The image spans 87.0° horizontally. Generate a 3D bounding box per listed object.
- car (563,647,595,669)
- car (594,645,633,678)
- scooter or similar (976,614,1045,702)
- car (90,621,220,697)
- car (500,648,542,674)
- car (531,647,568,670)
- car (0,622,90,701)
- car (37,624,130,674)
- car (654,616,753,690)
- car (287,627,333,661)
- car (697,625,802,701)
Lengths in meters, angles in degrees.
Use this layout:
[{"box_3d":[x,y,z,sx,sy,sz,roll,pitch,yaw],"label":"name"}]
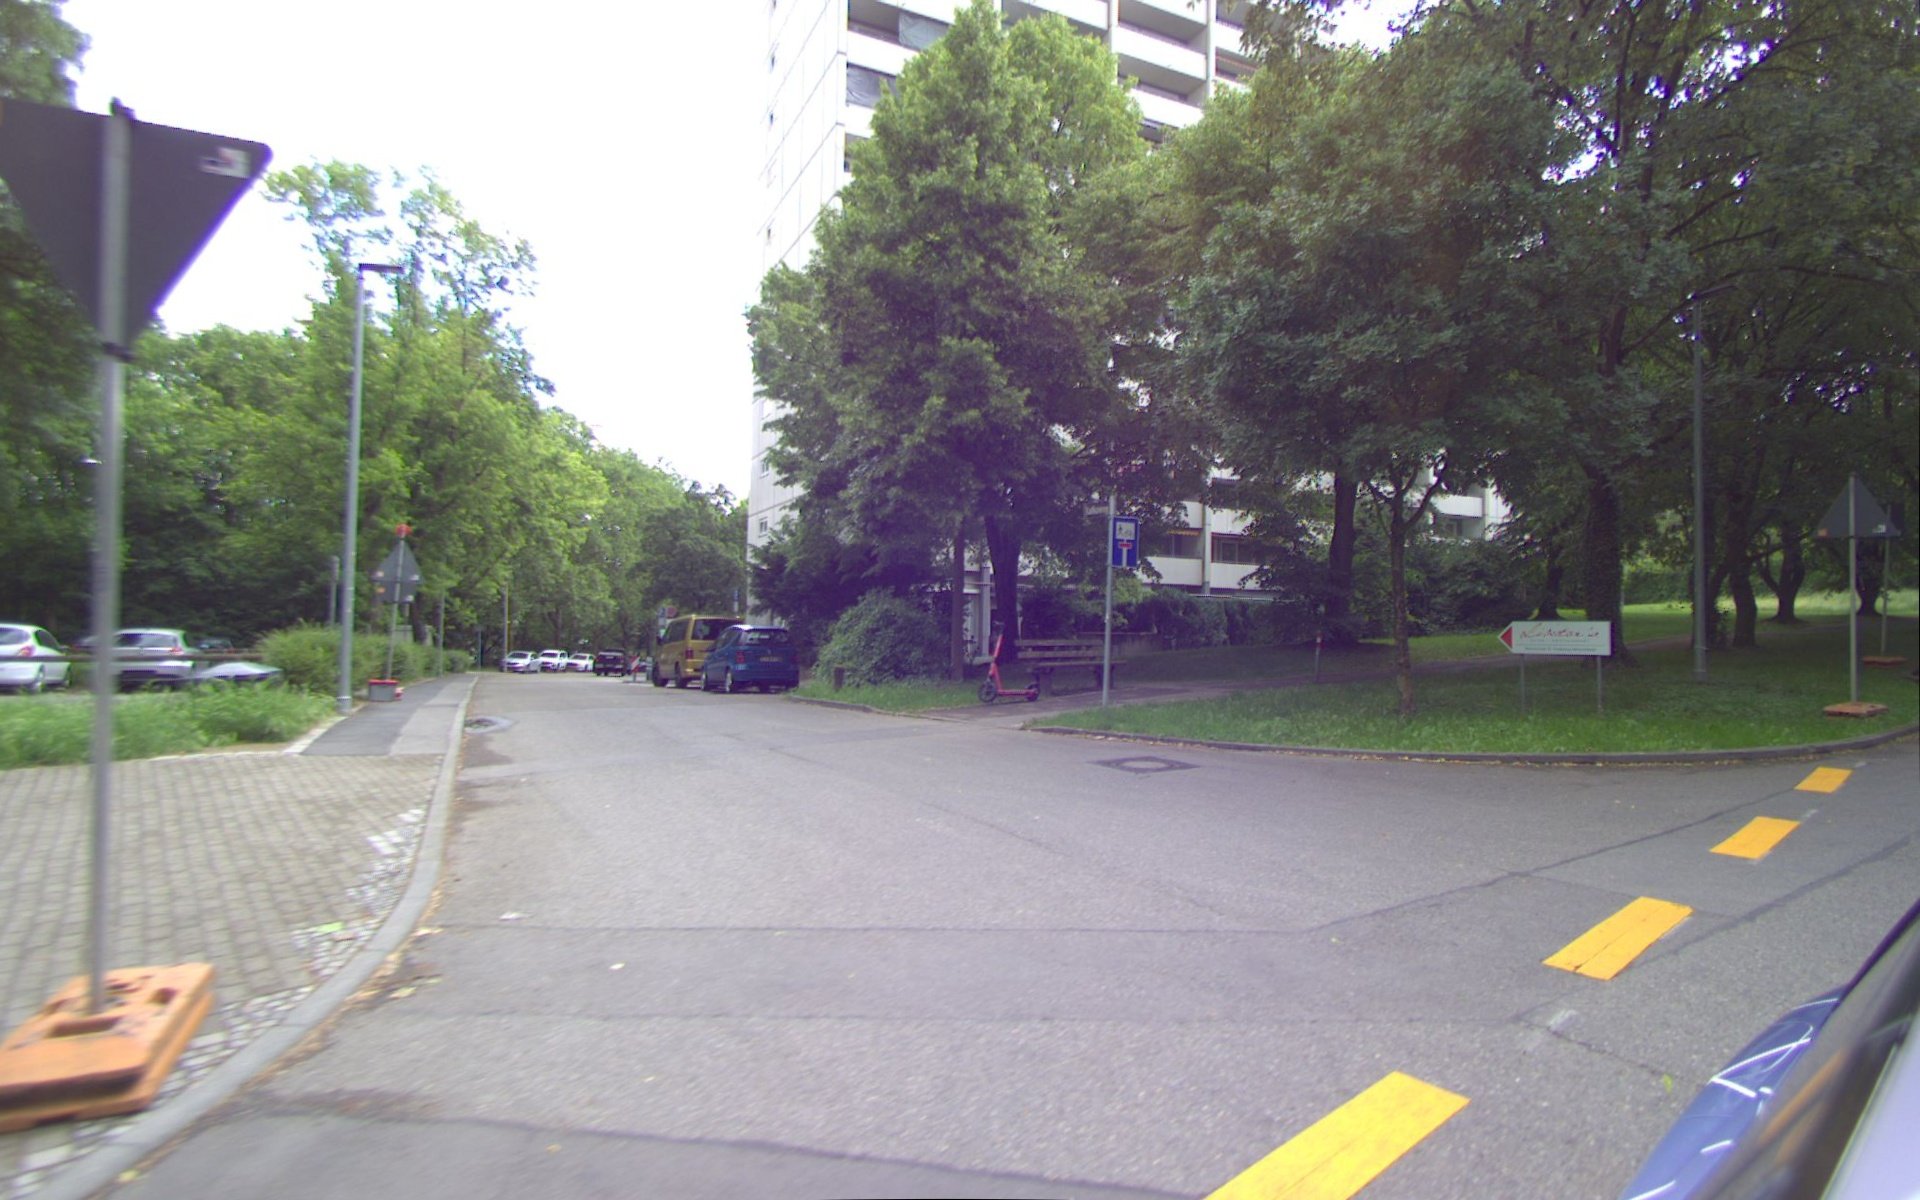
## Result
[{"box_3d":[-30.416,4.643,80.868,1.618,1.505,3.681,-1,0,-7],"label":"car"},{"box_3d":[-22.349,3.923,65.383,1.794,1.872,4.418,0,-1,-11],"label":"car"},{"box_3d":[0.791,0.876,15.657,1.087,1.303,0.284,0,-1,-34],"label":"scooter or similar"},{"box_3d":[-18.586,1.286,23.547,1.764,1.518,4.223,-1,0,-30],"label":"car"},{"box_3d":[-29.446,4.080,68.020,1.618,1.505,3.681,-1,0,-7],"label":"car"},{"box_3d":[-29.964,4.258,74.008,1.618,1.505,3.681,-1,0,-7],"label":"car"},{"box_3d":[-20.455,1.273,21.856,1.764,1.518,4.223,-1,0,-30],"label":"car"},{"box_3d":[-30.563,1.662,35.385,1.795,1.590,3.531,0,-1,-30],"label":"car"},{"box_3d":[-7.251,1.396,28.256,1.795,1.872,4.416,0,-1,-26],"label":"car"},{"box_3d":[-33.192,2.215,51.766,1.764,1.518,4.223,-1,0,-30],"label":"car"},{"box_3d":[-5.055,1.426,23.972,1.794,1.590,3.534,0,-1,-23],"label":"car"}]
